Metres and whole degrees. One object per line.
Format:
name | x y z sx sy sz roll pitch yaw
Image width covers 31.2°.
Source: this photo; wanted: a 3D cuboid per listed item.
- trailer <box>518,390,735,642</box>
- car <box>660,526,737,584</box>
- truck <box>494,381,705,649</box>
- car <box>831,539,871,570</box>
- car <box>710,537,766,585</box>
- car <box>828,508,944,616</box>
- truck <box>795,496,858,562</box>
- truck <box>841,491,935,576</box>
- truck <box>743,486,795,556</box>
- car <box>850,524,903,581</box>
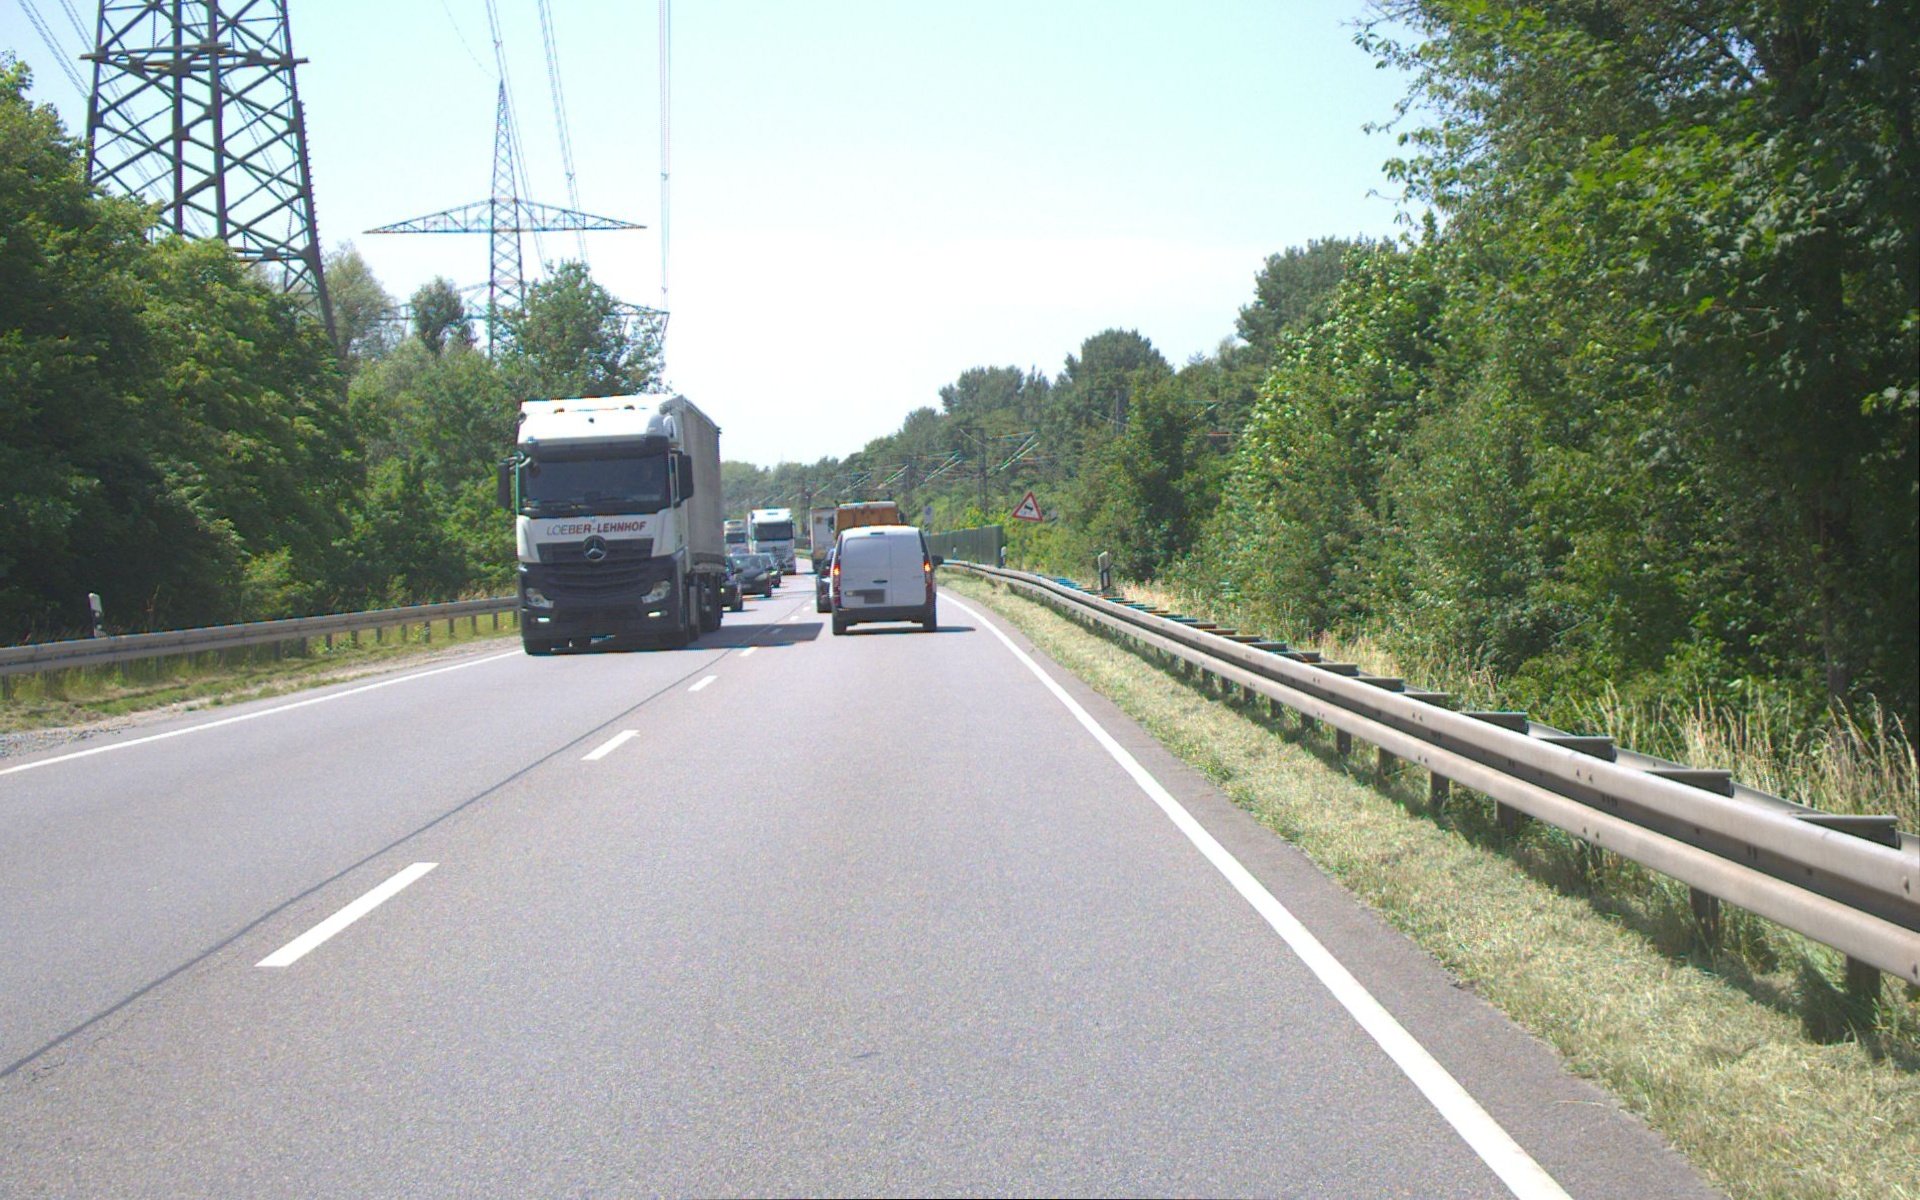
trailer | -5.753 -1.444 61.576 2.763 3.985 13.687 1 1 -1
car | -6.646 -1.164 87.674 1.634 1.432 4.180 1 1 0
truck | -5.658 -1.337 54.854 2.763 3.985 5.907 -1 1 -1
car | -5.818 -2.433 182.874 1.993 1.521 4.001 -3 1 -2
car | -7.024 -1.248 109.006 1.633 1.432 4.415 -3 1 -2
car | -1.244 -0.655 58.287 1.875 1.735 4.000 -1 1 -1
truck | -8.466 -4.522 215.553 3.402 3.841 16.821 0 2 -4
truck | -2.973 -2.742 137.229 3.296 3.161 14.407 0 2 -3
truck | -11.639 -4.826 210.010 2.742 4.028 9.665 -3 1 -2
car | -3.062 -1.727 125.650 1.763 2.007 4.001 -1 1 -3
